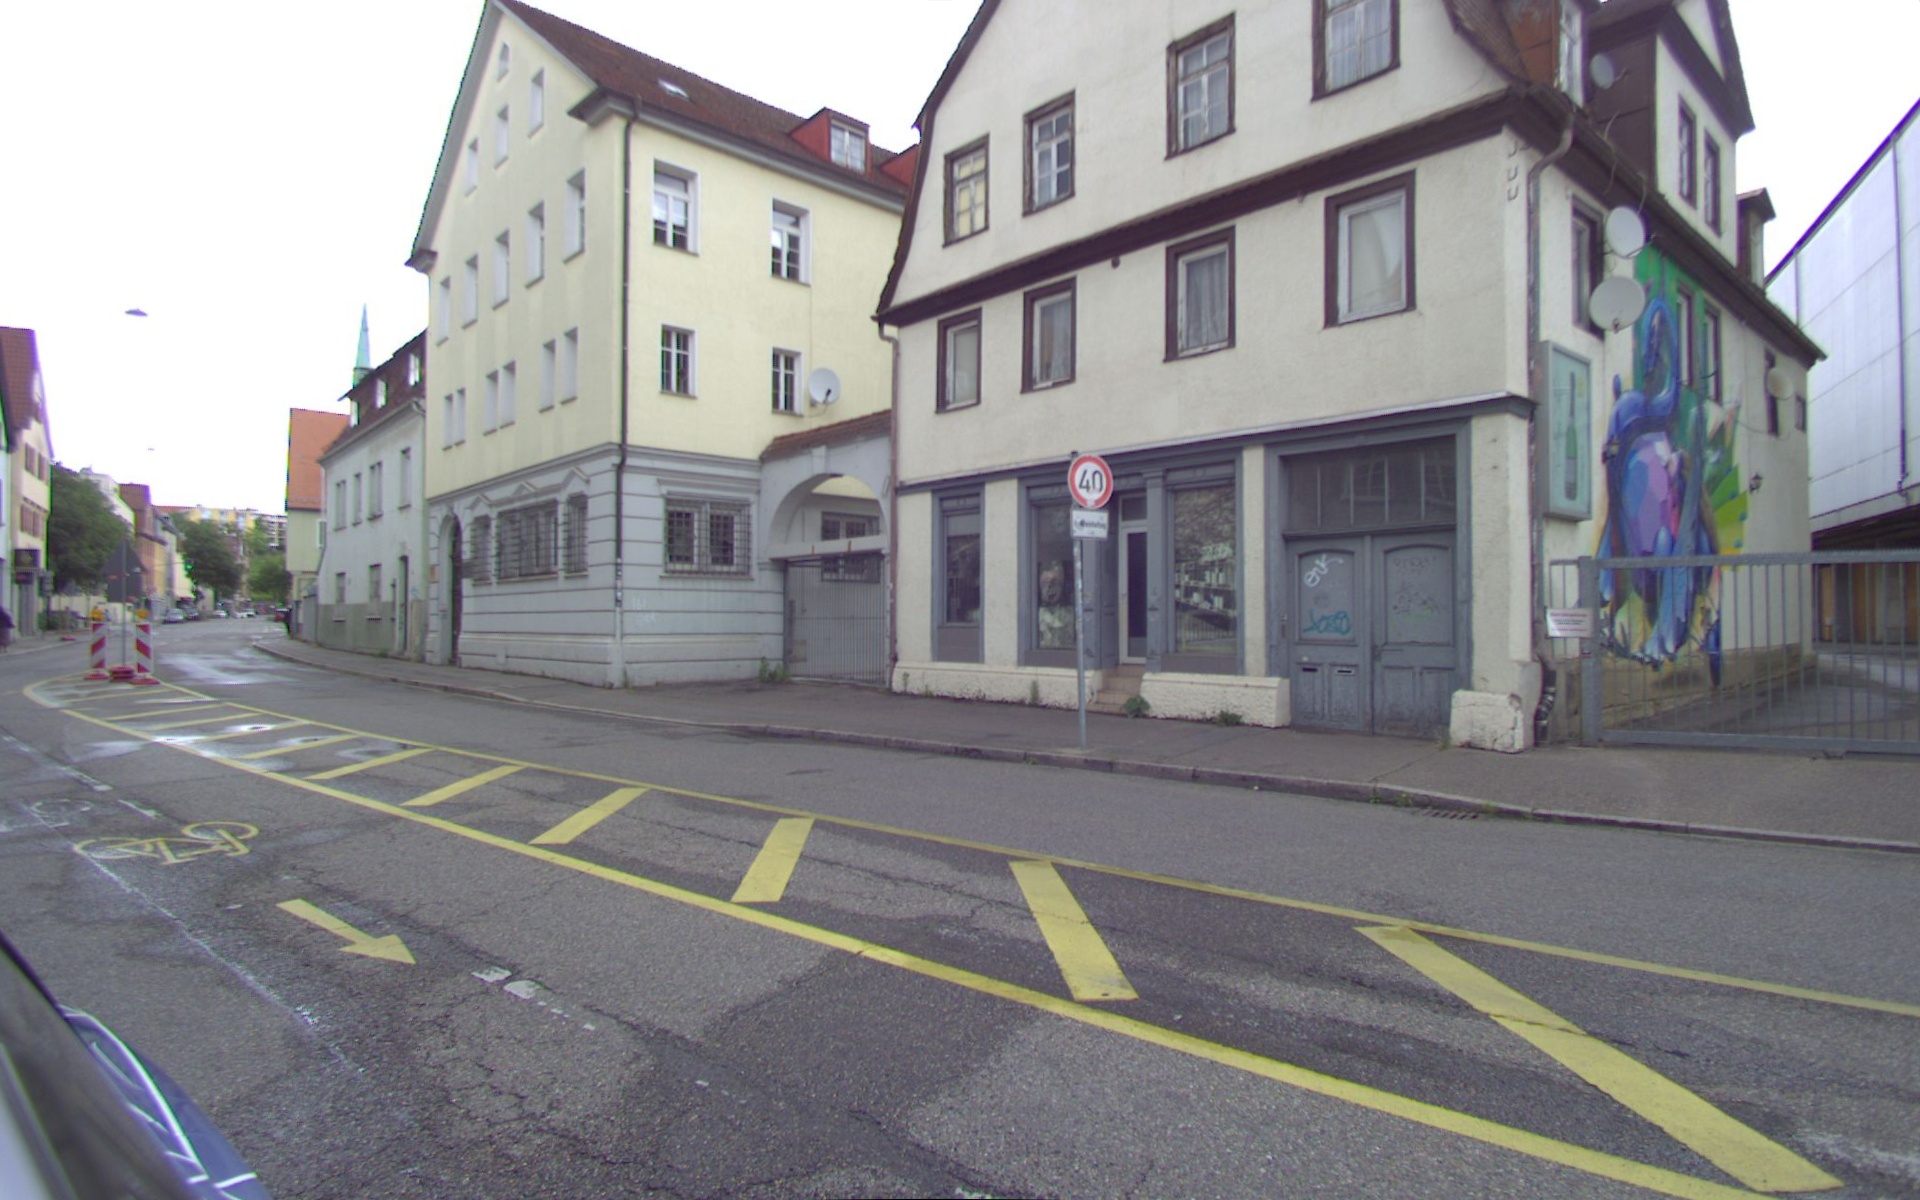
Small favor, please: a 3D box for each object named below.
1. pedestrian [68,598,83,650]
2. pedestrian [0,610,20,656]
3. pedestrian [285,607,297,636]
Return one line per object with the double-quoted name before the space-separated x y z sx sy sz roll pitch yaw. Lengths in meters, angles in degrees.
"pedestrian" -43.538 1.193 49.817 0.487 2.547 0.747 1 -2 -38
"pedestrian" -33.786 1.171 35.811 0.714 1.626 0.650 0 -2 -37
"pedestrian" -41.840 1.351 63.282 0.583 1.793 0.506 1 -2 -32
